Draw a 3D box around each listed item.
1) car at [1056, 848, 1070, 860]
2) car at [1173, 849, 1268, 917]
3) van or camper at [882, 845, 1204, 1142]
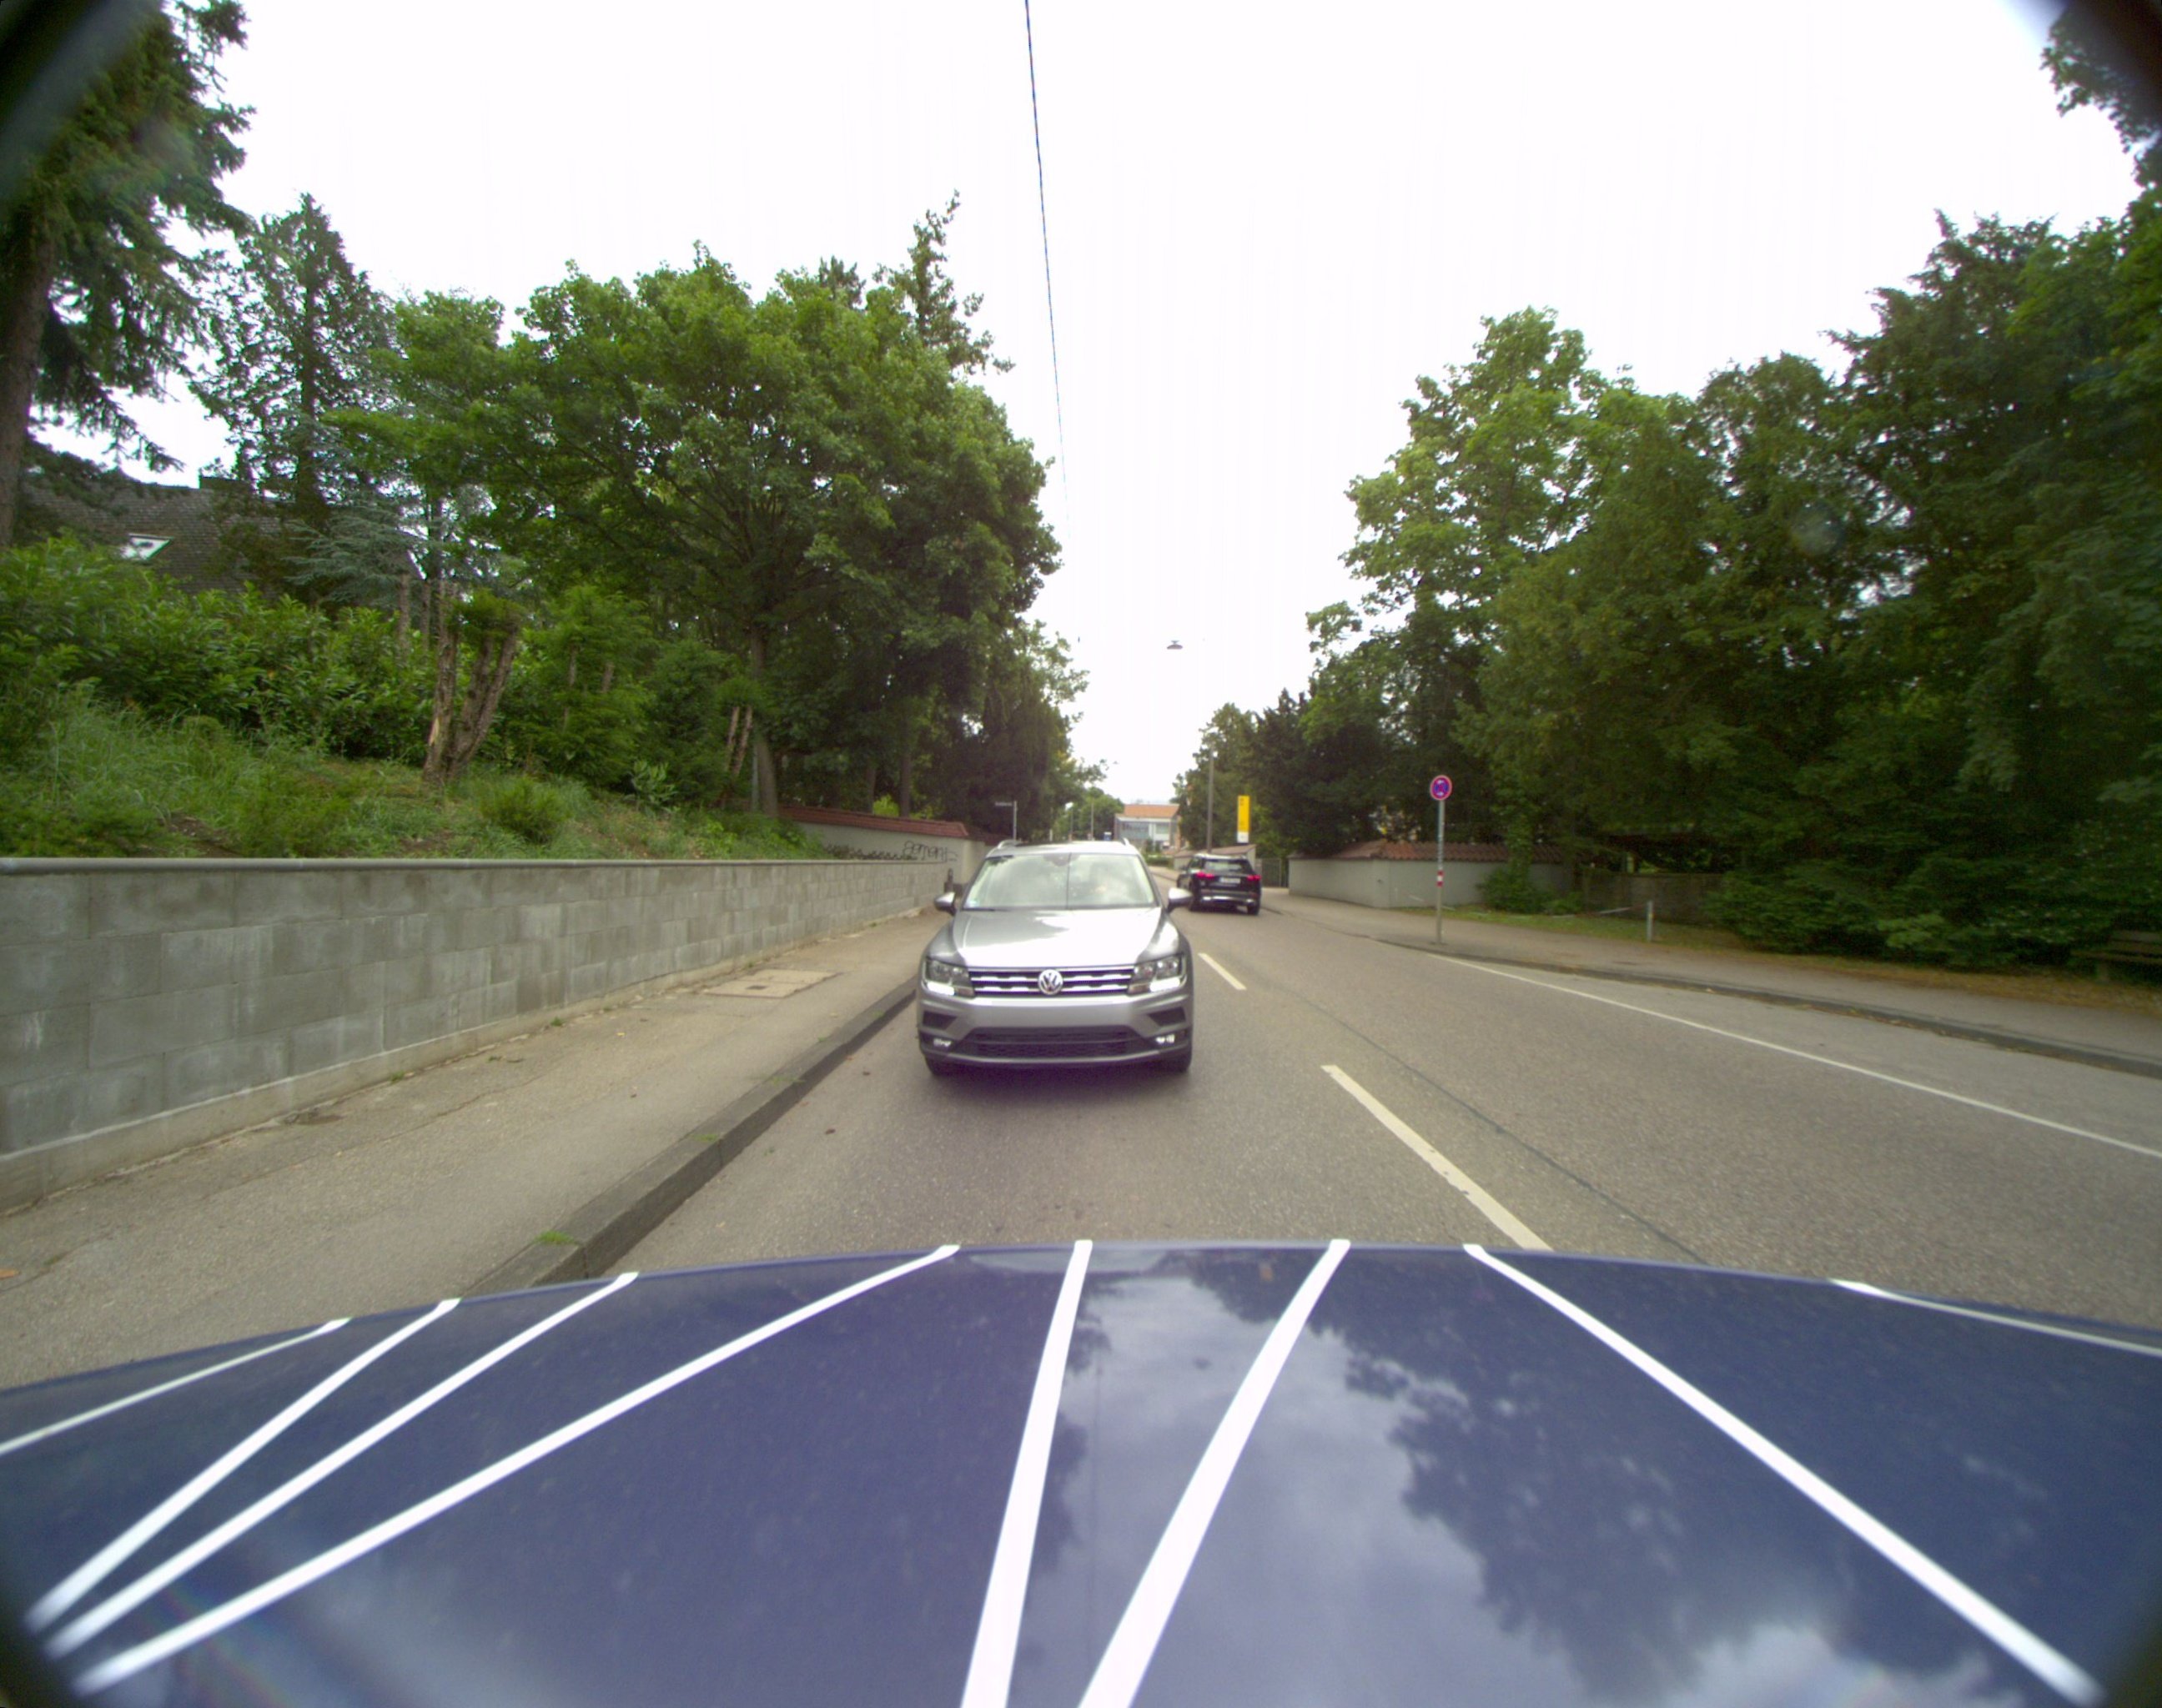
[{"bbox_3d":[-2.614,0.000,108.916,1.789,1.644,4.120,3,0,1],"label":"car"},{"bbox_3d":[3.796,0.726,21.431,1.864,1.648,4.306,3,0,1],"label":"car"},{"bbox_3d":[-0.191,0.776,6.376,1.800,1.663,4.198,0,0,1],"label":"van or camper"}]
